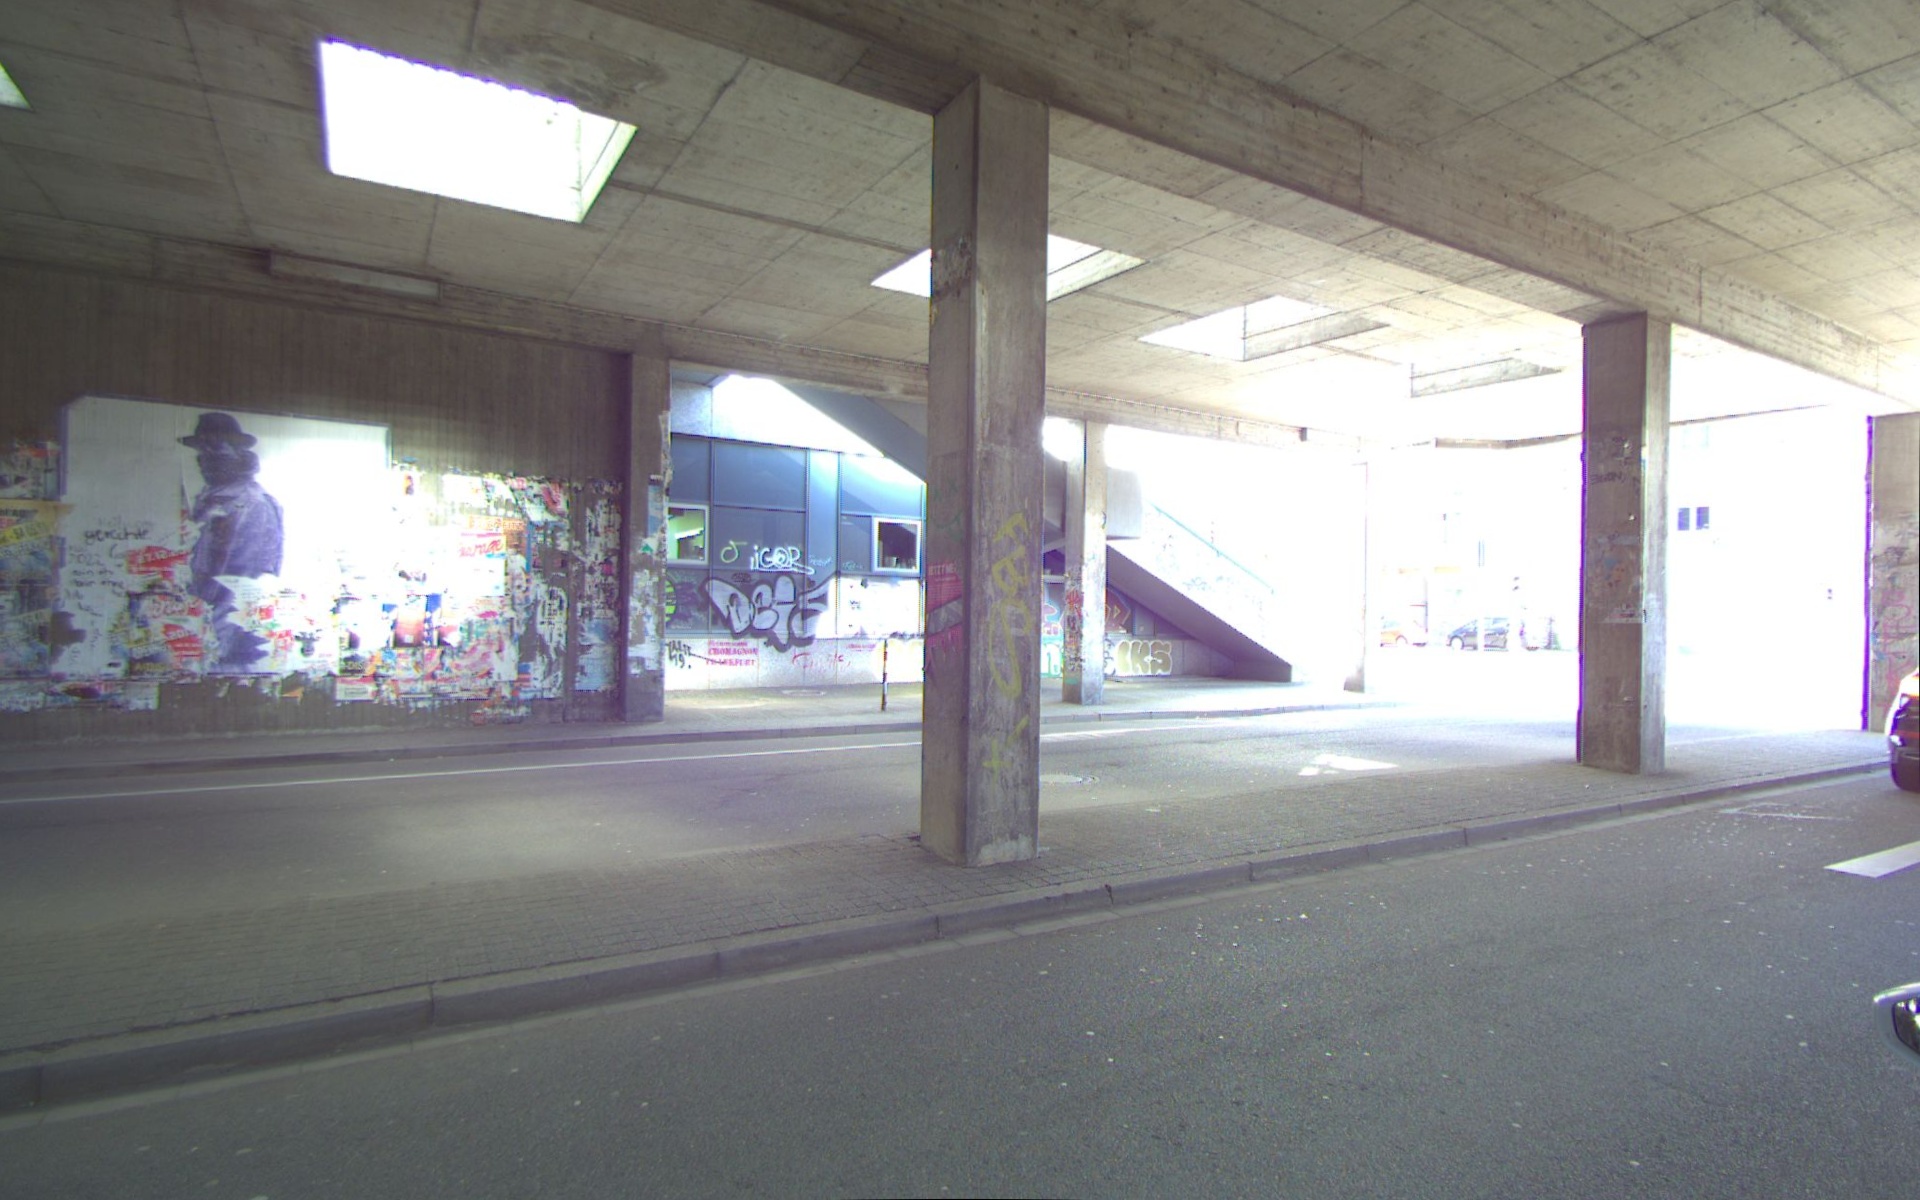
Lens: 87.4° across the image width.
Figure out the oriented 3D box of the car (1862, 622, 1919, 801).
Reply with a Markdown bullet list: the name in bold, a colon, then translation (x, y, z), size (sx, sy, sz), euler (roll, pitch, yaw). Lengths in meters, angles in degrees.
- **car**: translation (9.959, 0.972, 8.934), size (4.131, 1.466, 1.770), euler (1, 0, -32)

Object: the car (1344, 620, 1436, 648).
- **car**: translation (22.517, 1.747, 52.686), size (2.163, 1.392, 3.971), euler (1, -1, -28)

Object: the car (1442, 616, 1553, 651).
- **car**: translation (25.439, 1.563, 47.675), size (2.240, 1.571, 4.111), euler (1, -1, -29)
